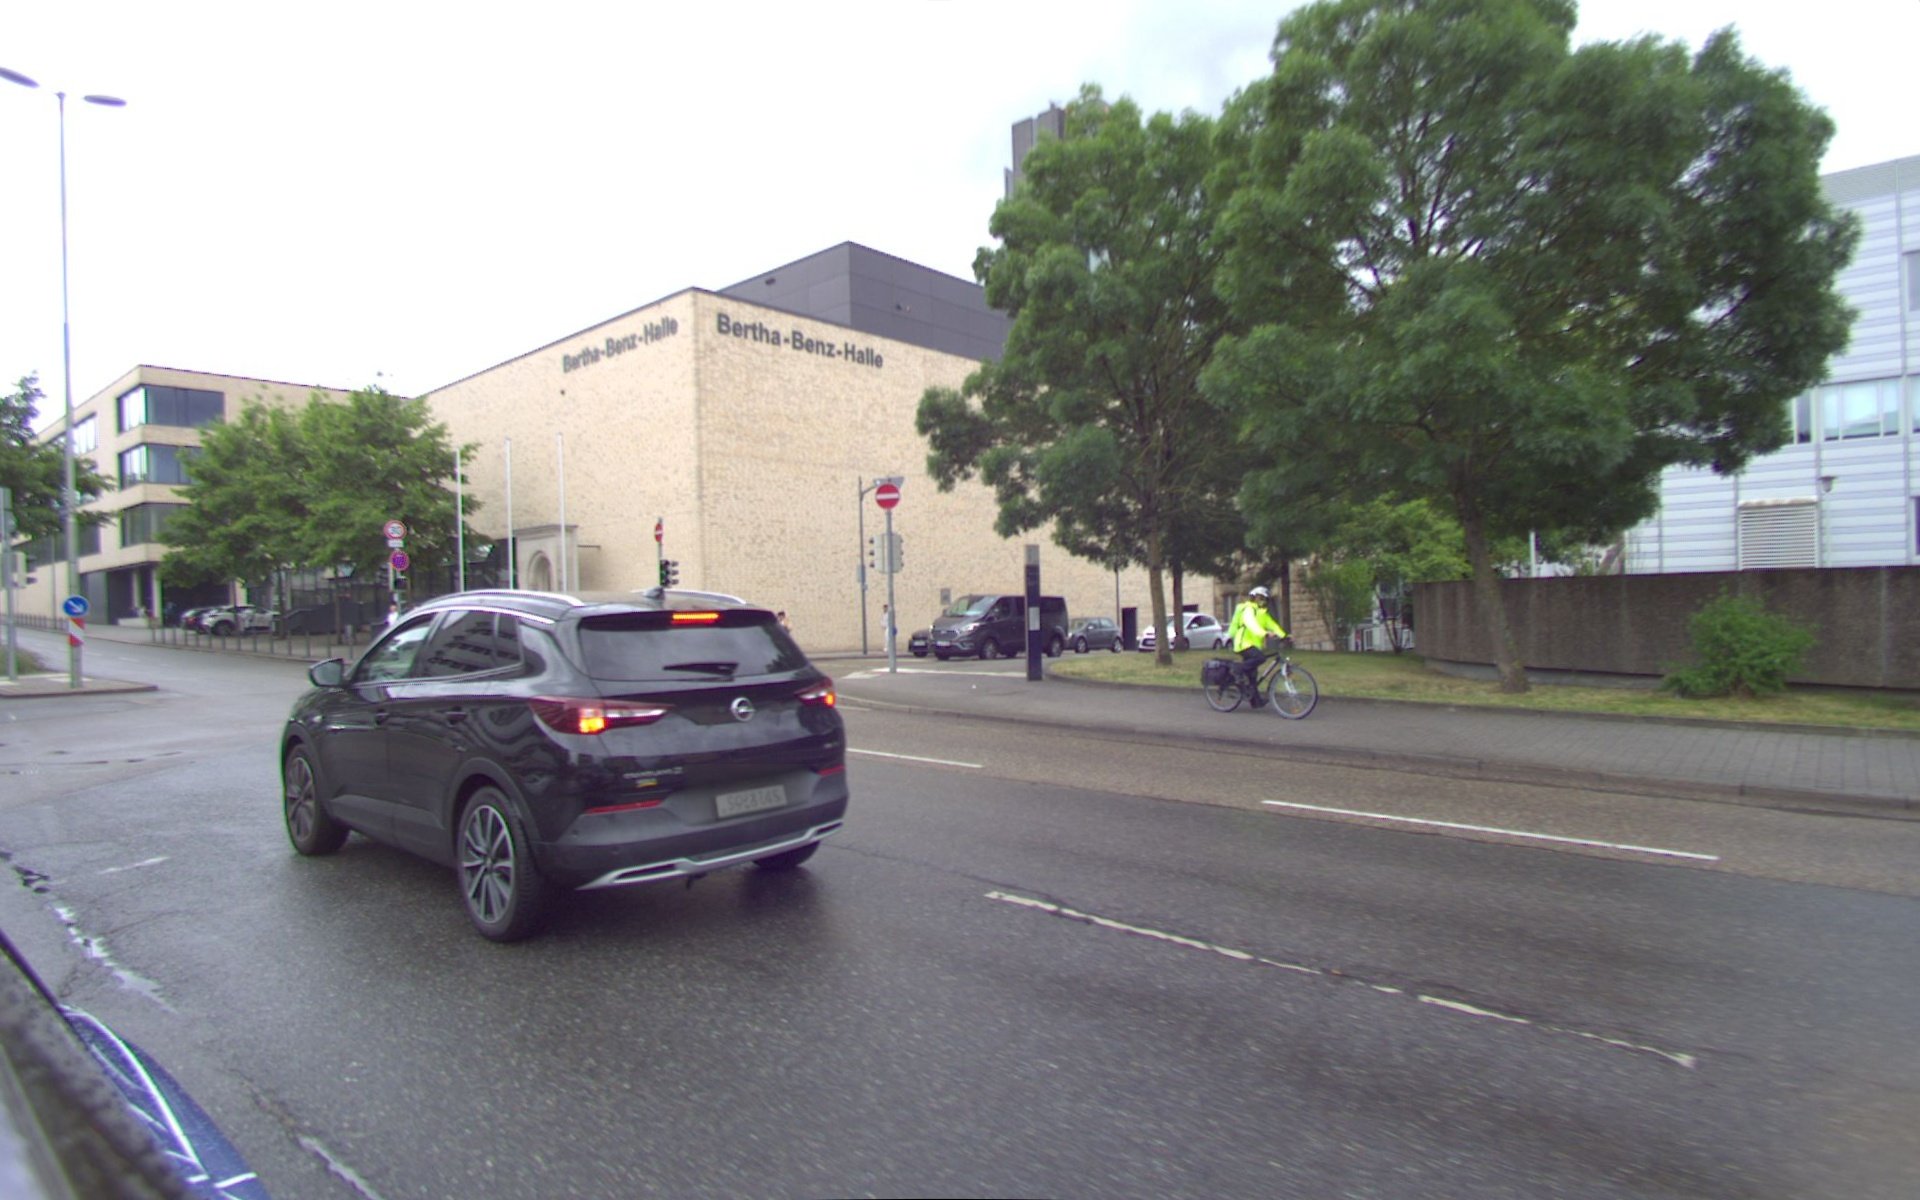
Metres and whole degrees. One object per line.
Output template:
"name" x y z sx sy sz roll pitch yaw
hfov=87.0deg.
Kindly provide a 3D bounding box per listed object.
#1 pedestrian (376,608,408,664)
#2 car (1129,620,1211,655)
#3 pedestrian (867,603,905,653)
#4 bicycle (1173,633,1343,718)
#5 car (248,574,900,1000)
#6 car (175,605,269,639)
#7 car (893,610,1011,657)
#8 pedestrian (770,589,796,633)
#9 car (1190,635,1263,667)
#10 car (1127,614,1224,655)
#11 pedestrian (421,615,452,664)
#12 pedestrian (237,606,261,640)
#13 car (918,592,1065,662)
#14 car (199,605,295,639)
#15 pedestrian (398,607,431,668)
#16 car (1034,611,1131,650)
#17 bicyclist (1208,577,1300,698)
"pedestrian" -18.320 1.162 32.619 0.691 1.744 0.589 -1 2 36
"car" 9.282 1.665 44.520 1.997 1.469 3.949 -1 -3 38
"pedestrian" -2.665 1.013 36.511 0.806 1.713 1.099 -1 2 38
"bicycle" 3.782 0.927 12.919 1.866 0.914 0.875 -1 2 43
"car" -2.506 0.723 5.931 4.294 1.606 1.789 -1 0 42
"car" -41.295 1.212 56.654 2.001 1.596 3.942 -1 2 44
"car" -0.212 1.155 34.097 1.996 1.453 3.950 -1 -3 36
"pedestrian" -5.758 0.361 32.909 0.475 1.386 0.614 -1 2 41
"car" 13.041 2.493 49.430 1.998 1.469 3.946 -1 -3 40
"car" 8.260 1.338 38.602 1.998 1.469 3.946 -1 -3 40
"pedestrian" -16.801 1.258 32.465 0.691 1.527 0.588 -1 2 40
"pedestrian" -35.781 1.140 50.897 0.792 1.659 0.977 -4 2 -43
"car" 1.047 0.855 30.473 1.998 1.940 4.729 -1 -3 39
"car" -39.028 1.173 55.445 2.001 1.596 3.942 -1 2 44
"pedestrian" -16.499 1.132 30.617 0.691 1.784 0.588 -1 2 40
"car" 4.850 1.229 39.733 1.998 1.469 3.946 -1 -3 40
"bicyclist" 3.781 0.458 13.012 0.812 1.453 0.833 -1 2 43
